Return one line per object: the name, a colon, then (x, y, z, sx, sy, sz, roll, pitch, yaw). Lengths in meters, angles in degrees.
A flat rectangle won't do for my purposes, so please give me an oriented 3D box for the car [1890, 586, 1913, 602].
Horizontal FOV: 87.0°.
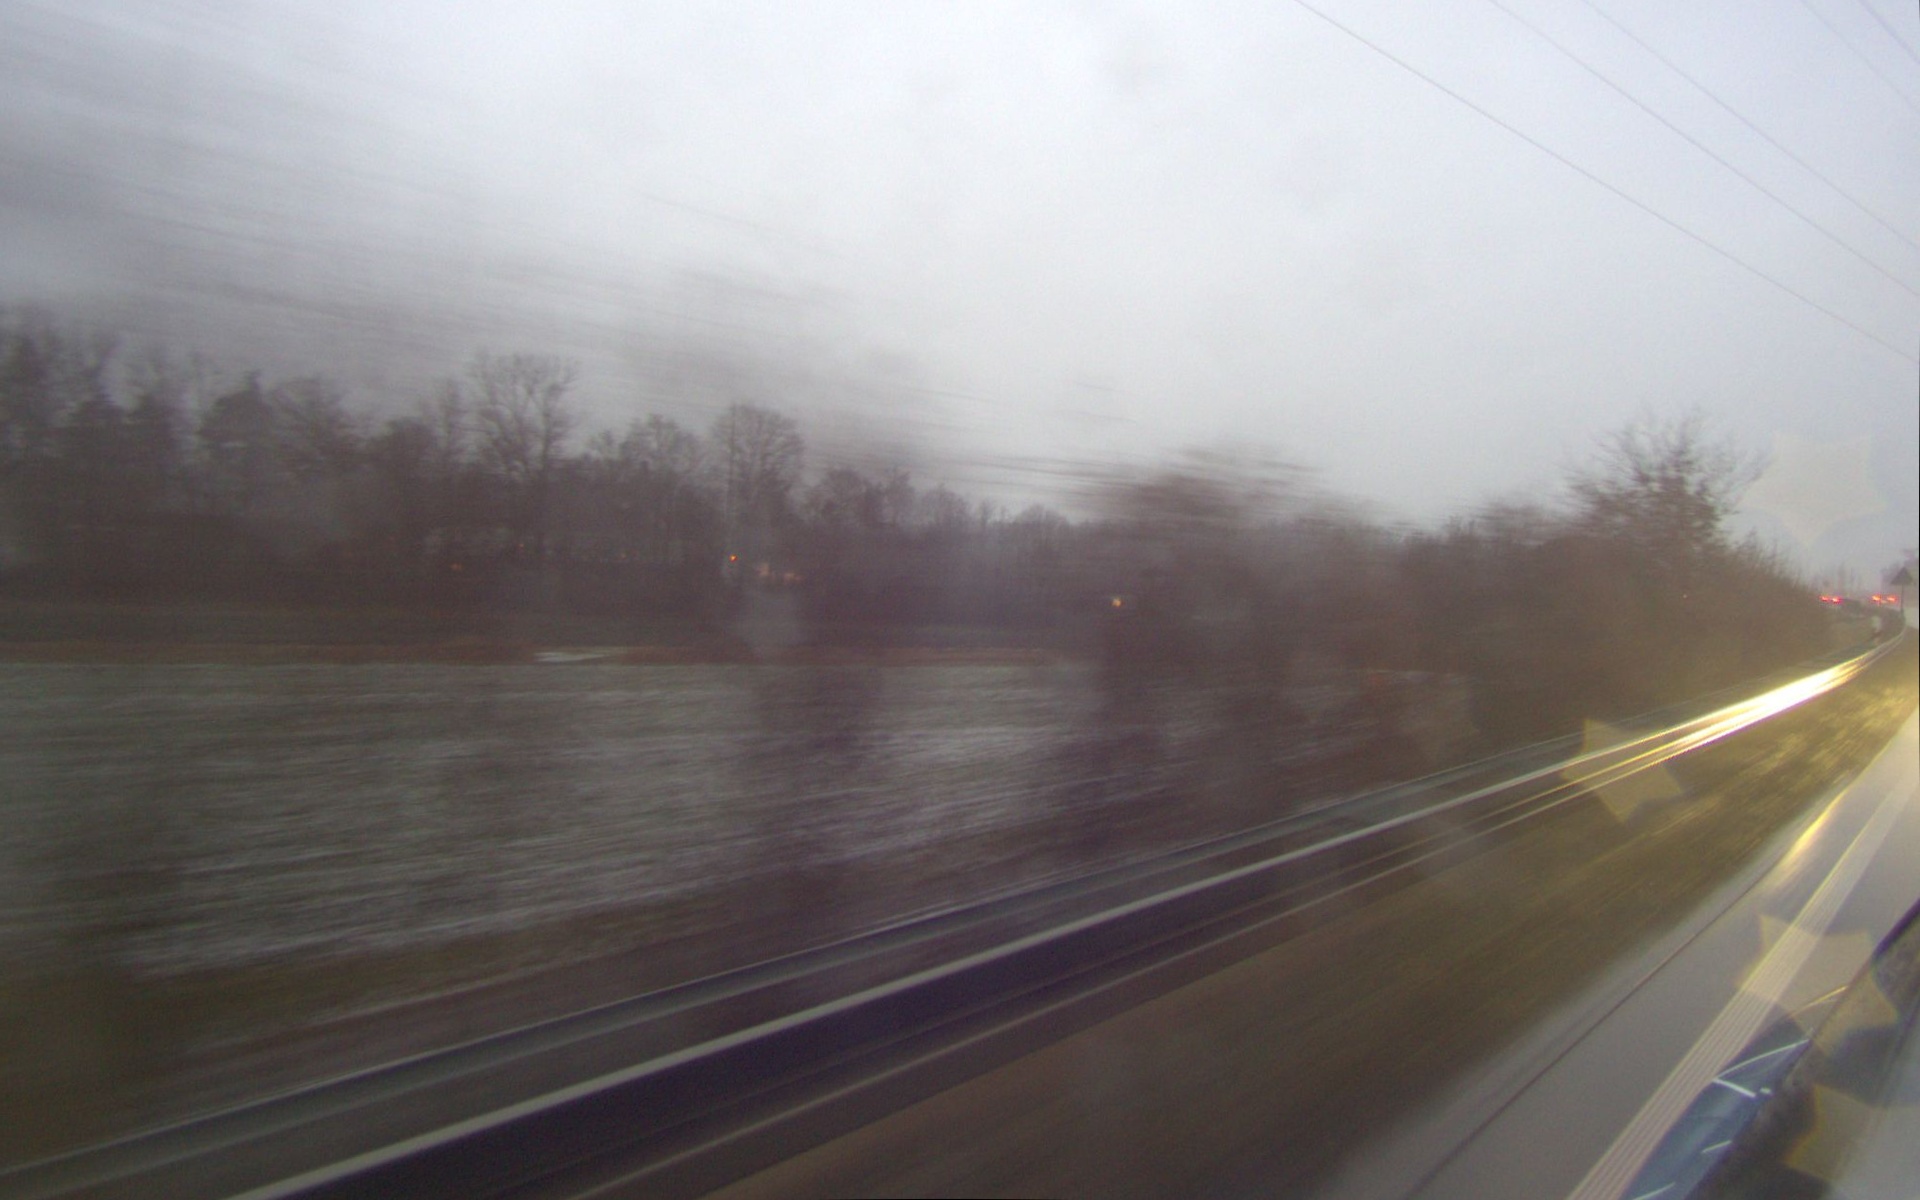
car: (101.420, -0.685, 109.037, 1.635, 1.490, 4.384, 2, 4, 42)
